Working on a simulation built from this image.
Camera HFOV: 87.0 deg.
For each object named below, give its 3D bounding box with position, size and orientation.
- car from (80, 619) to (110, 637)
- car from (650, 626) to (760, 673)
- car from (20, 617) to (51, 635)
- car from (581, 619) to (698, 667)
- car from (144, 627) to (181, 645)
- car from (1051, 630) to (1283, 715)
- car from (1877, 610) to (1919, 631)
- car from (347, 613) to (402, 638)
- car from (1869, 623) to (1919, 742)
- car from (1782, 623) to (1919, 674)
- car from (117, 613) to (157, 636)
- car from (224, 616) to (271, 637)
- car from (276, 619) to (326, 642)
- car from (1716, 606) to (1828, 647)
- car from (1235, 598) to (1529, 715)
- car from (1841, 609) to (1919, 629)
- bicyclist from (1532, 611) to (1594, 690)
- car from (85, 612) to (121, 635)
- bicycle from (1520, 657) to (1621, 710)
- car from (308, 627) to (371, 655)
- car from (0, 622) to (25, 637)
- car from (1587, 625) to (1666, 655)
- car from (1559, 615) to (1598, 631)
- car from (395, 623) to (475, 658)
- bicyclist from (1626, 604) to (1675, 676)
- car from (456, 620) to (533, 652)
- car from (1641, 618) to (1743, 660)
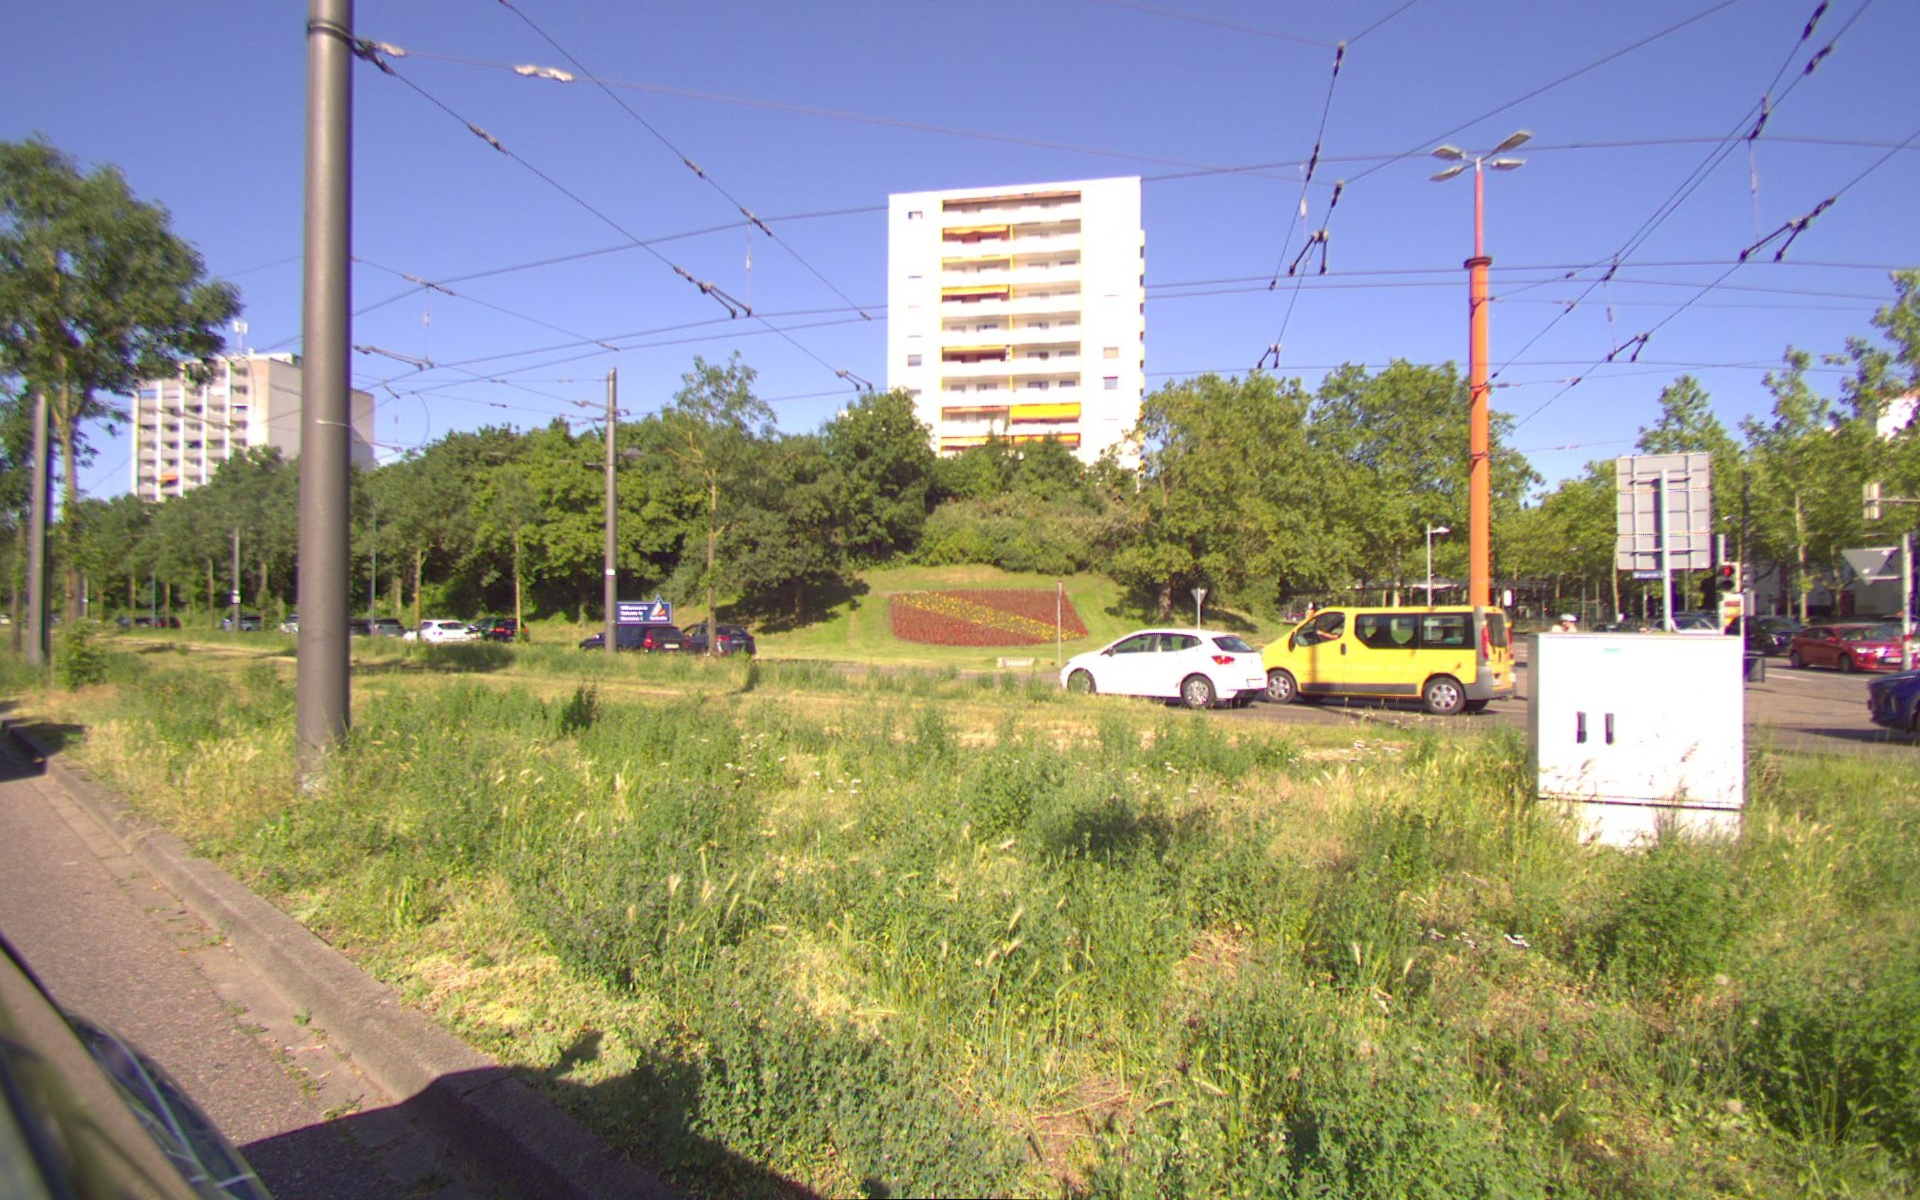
[{"bbox_3d":[-89.003,2.844,104.103,3.998,1.779,1.858,-1,-2,41],"label":"car"},{"bbox_3d":[-8.947,1.681,35.343,4.242,1.519,1.768,-1,-2,44],"label":"car"},{"bbox_3d":[-92.471,2.577,101.197,3.998,1.779,1.858,-1,-2,41],"label":"car"},{"bbox_3d":[-10.340,1.335,32.519,4.312,1.427,1.774,-1,-2,44],"label":"car"},{"bbox_3d":[-68.276,3.081,86.654,3.998,1.475,1.779,-1,-2,41],"label":"car"},{"bbox_3d":[3.842,1.289,19.171,4.020,1.418,1.671,-1,-2,42],"label":"car"},{"bbox_3d":[64.886,1.401,68.402,1.770,1.420,4.010,1,-1,-36],"label":"car"},{"bbox_3d":[-33.245,1.436,57.436,4.001,1.386,1.717,-1,-2,44],"label":"car"},{"bbox_3d":[14.654,1.090,13.187,4.105,1.586,1.973,-1,-2,41],"label":"car"},{"bbox_3d":[27.398,1.440,31.016,1.668,1.446,4.050,0,-1,11],"label":"car"},{"bbox_3d":[-65.662,1.952,80.756,3.998,1.779,1.858,-1,-2,41],"label":"car"},{"bbox_3d":[-52.634,1.923,74.783,3.998,1.497,1.972,-1,-2,41],"label":"car"},{"bbox_3d":[-43.335,1.989,66.498,4.000,1.409,1.822,-1,-2,43],"label":"car"},{"bbox_3d":[33.187,1.083,41.523,1.839,1.557,4.245,0,-1,12],"label":"car"},{"bbox_3d":[8.067,1.038,19.669,4.905,1.981,1.972,-2,-3,42],"label":"car"},{"bbox_3d":[65.874,1.380,72.384,1.770,1.420,4.010,1,-1,-36],"label":"car"},{"bbox_3d":[12.105,0.996,20.322,0.719,1.557,0.770,0,-2,-20],"label":"bicyclist"},{"bbox_3d":[-77.822,2.123,91.885,3.998,2.029,1.973,-1,-2,41],"label":"car"},{"bbox_3d":[12.150,1.639,20.191,0.673,0.968,1.650,0,-2,-20],"label":"bicycle"},{"bbox_3d":[-32.680,2.124,53.250,4.229,1.371,1.801,-1,-2,43],"label":"car"},{"bbox_3d":[-111.380,3.475,118.517,3.989,1.674,1.888,-1,-2,34],"label":"car"},{"bbox_3d":[32.524,1.910,49.517,1.747,1.360,4.345,-1,-1,12],"label":"car"},{"bbox_3d":[79.769,2.997,130.608,3.969,2.029,1.987,-1,-1,20],"label":"car"},{"bbox_3d":[-22.588,1.715,43.495,4.000,1.429,1.842,-1,-2,43],"label":"car"},{"bbox_3d":[13.437,0.774,19.714,0.435,1.391,0.631,0,-2,-20],"label":"bicyclist"},{"bbox_3d":[-21.883,1.665,47.548,3.998,1.429,1.843,-1,-2,41],"label":"car"},{"bbox_3d":[30.494,1.593,42.319,1.809,1.648,4.237,0,-1,12],"label":"car"}]
